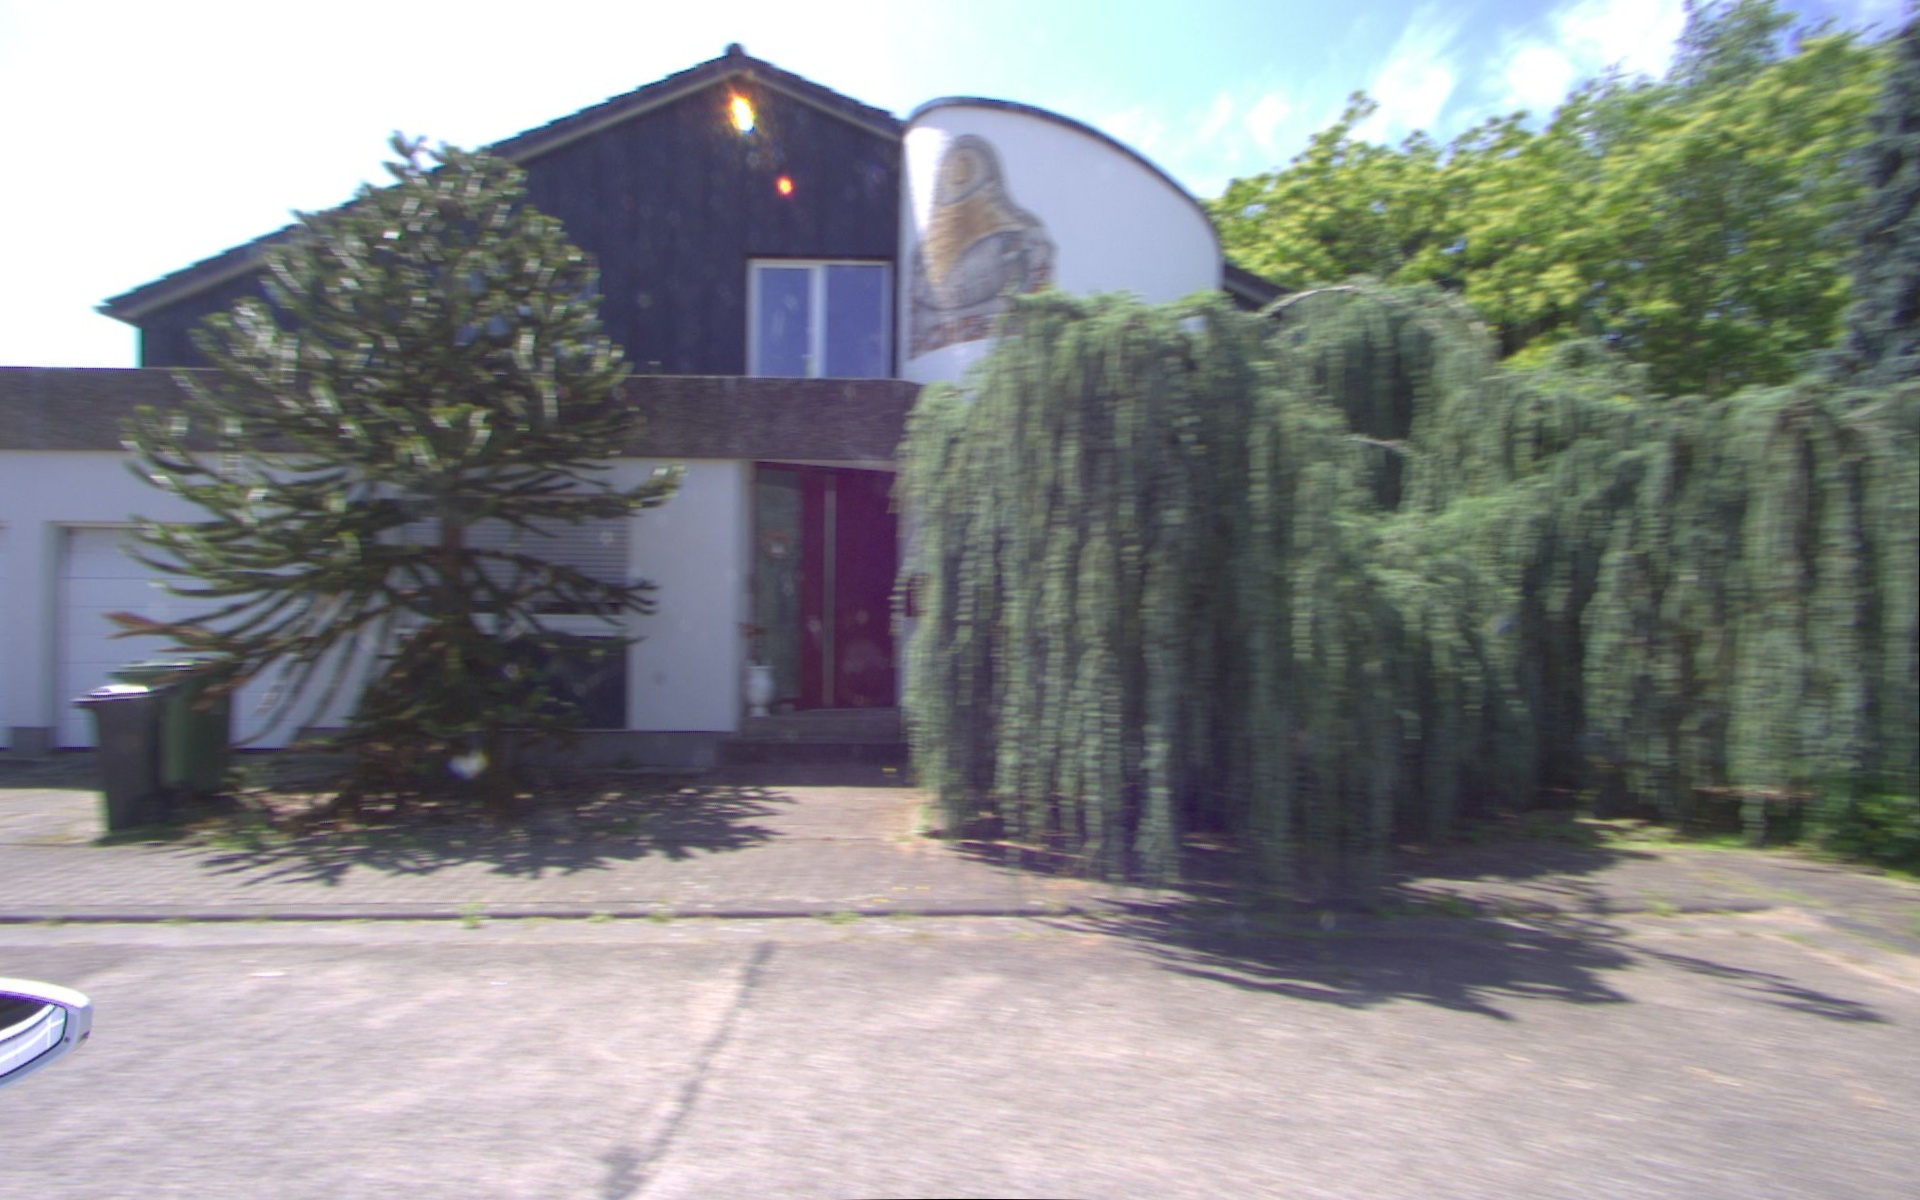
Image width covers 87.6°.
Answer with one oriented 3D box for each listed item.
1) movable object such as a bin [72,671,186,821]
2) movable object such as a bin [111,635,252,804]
[{"bbox_3d":[-5.707,0.985,6.899,0.516,0.962,0.387,1,-1,-28],"label":"movable object such as a bin"},{"bbox_3d":[-5.910,0.886,7.626,0.621,1.219,0.551,1,-1,-1],"label":"movable object such as a bin"}]
